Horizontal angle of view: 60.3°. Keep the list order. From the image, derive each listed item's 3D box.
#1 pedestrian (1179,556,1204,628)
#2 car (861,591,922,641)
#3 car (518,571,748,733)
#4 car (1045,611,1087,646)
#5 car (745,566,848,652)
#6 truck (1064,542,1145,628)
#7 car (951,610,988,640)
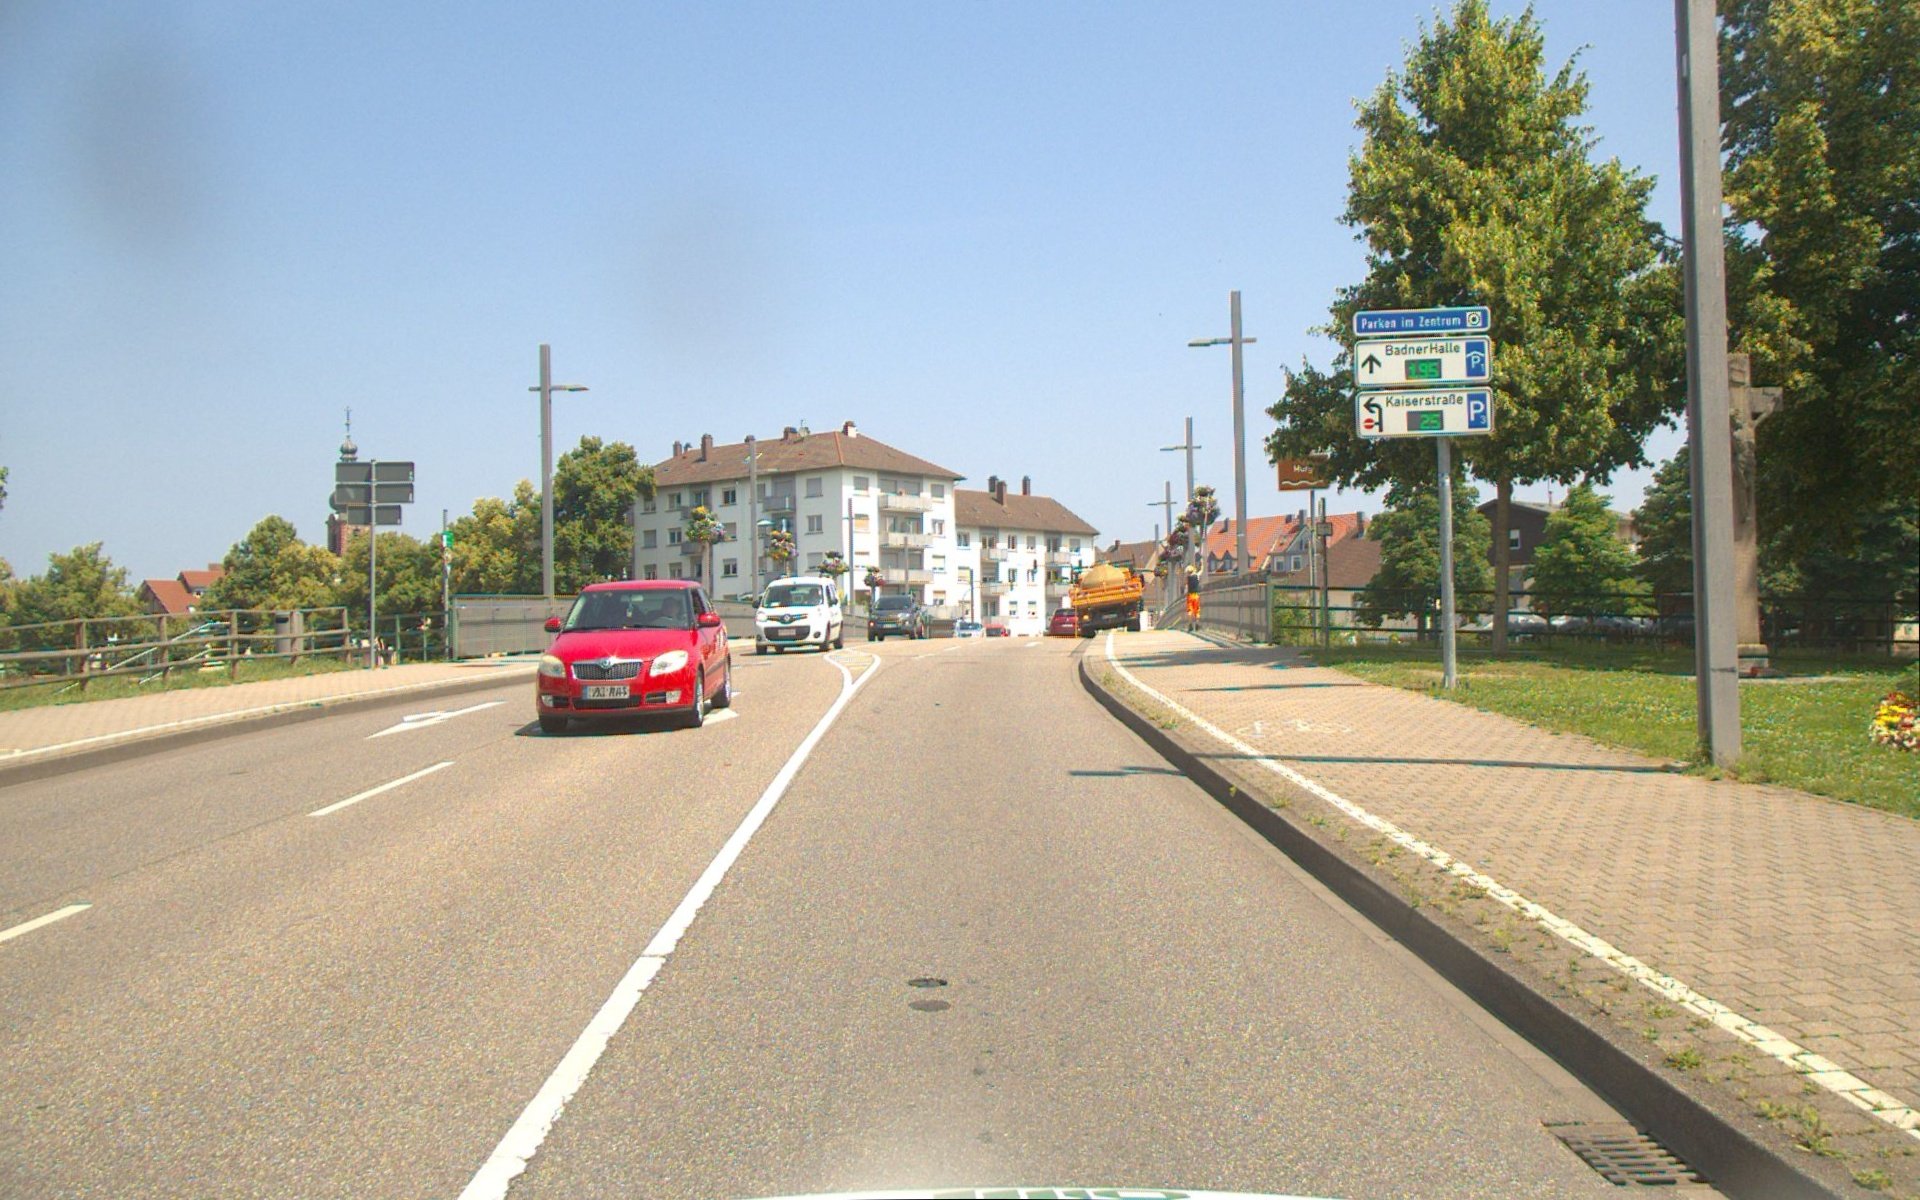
[{"bbox_3d":[6.537,-0.223,46.731,0.536,1.994,0.672,-1,-2,-3],"label":"pedestrian"},{"bbox_3d":[-2.472,0.611,60.500,1.700,1.669,3.923,-3,-1,4],"label":"car"},{"bbox_3d":[-3.373,0.494,17.731,1.613,1.489,3.861,-2,0,1],"label":"car"},{"bbox_3d":[5.259,1.428,82.255,1.948,1.641,4.344,-2,-1,3],"label":"car"},{"bbox_3d":[-3.936,0.178,40.499,1.799,1.892,4.665,-3,1,2],"label":"car"},{"bbox_3d":[5.004,-0.455,56.819,2.551,2.738,5.826,-2,-1,6],"label":"truck"},{"bbox_3d":[0.557,1.437,93.727,1.662,1.382,4.458,3,-4,5],"label":"car"}]
